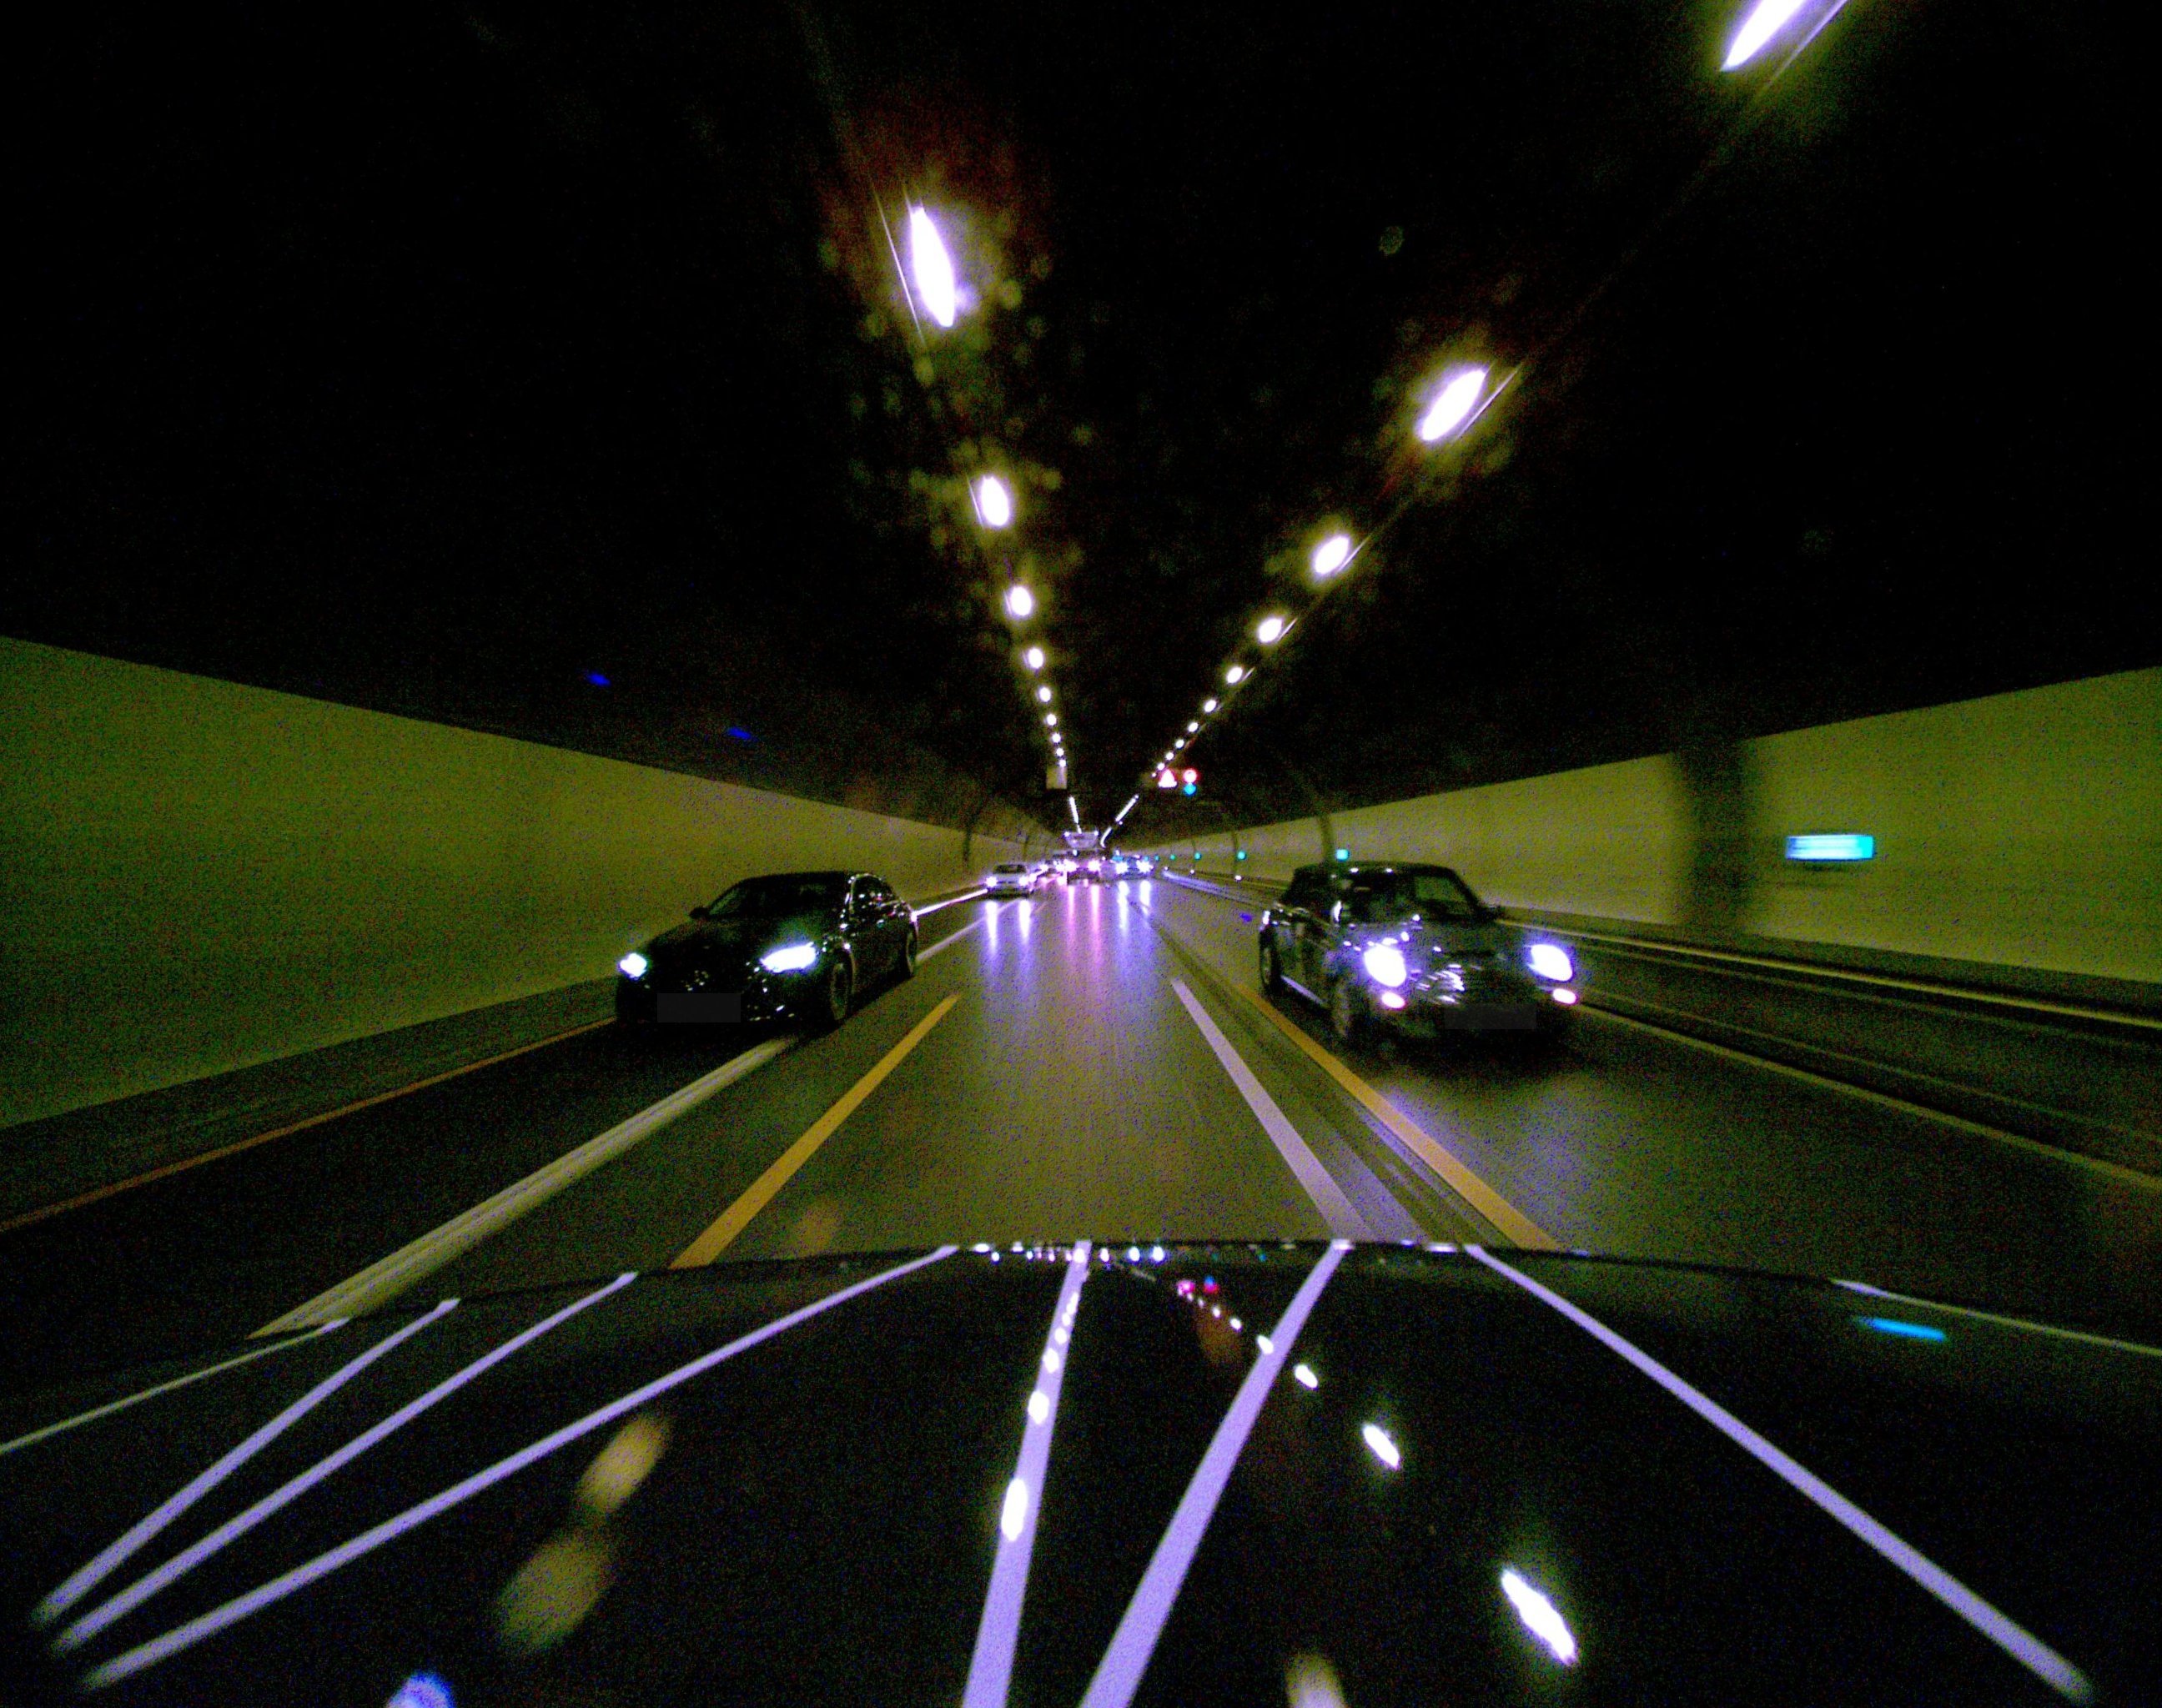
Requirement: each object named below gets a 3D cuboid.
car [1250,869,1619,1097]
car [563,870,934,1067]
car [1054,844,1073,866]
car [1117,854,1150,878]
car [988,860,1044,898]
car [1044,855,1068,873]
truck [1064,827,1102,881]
[{"bbox_3d":[2.751,0.895,6.873,1.657,1.395,3.657,-1,0,1],"label":"car"},{"bbox_3d":[-3.159,0.973,8.602,1.930,1.464,4.954,0,0,1],"label":"car"},{"bbox_3d":[-2.164,0.117,94.339,2.124,2.629,6.229,0,1,1],"label":"car"},{"bbox_3d":[3.581,0.803,52.774,1.958,1.527,4.758,-2,0,0],"label":"car"},{"bbox_3d":[-2.695,1.016,32.253,1.801,1.452,4.035,-1,0,3],"label":"car"},{"bbox_3d":[-2.207,0.913,68.618,1.958,1.527,4.758,0,0,0],"label":"car"},{"bbox_3d":[0.156,0.000,49.191,2.262,3.238,7.383,0,0,1],"label":"truck"}]
